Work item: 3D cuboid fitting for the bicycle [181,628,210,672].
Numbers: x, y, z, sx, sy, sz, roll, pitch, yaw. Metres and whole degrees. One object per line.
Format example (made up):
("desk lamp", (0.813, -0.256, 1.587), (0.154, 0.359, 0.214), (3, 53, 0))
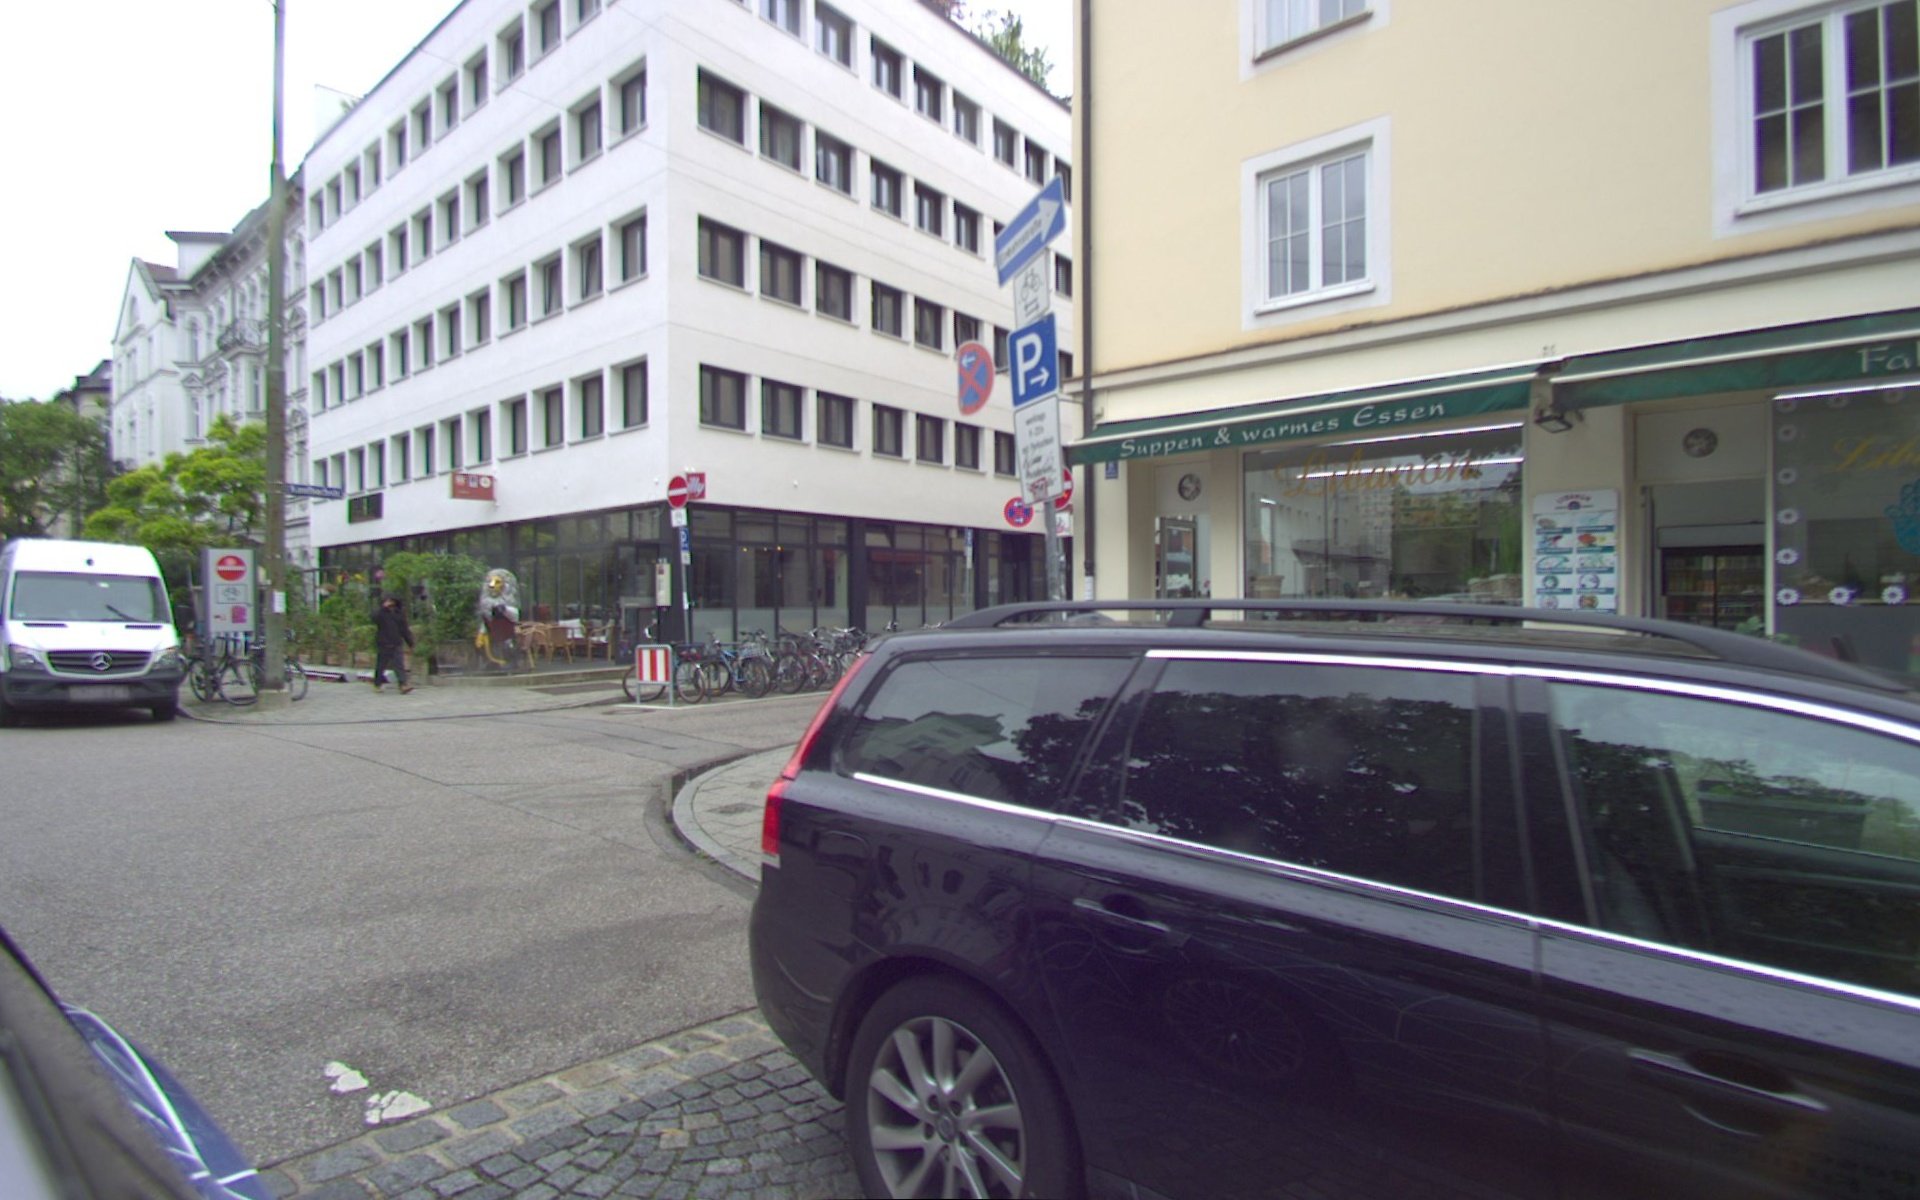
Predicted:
("bicycle", (-21.623, 1.401, 28.618), (1.911, 1.183, 0.356), (-1, -1, 44))

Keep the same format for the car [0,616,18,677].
("car", (-25.410, 1.168, 26.008), (1.673, 1.515, 3.779), (0, -1, -44))

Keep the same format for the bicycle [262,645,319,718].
("bicycle", (-10.935, 1.297, 16.512), (1.814, 1.099, 0.283), (-1, -1, 41))

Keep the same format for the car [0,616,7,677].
("car", (-29.356, 1.342, 29.676), (3.897, 1.736, 1.699), (-1, -2, 42))

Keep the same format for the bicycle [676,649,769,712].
("bicycle", (-4.044, 1.339, 17.154), (1.891, 0.976, 0.393), (-1, -1, 36))

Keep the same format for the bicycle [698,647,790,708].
("bicycle", (-3.754, 1.320, 17.525), (1.891, 0.976, 0.393), (-1, -1, 36))

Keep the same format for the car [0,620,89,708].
("car", (-17.776, 1.134, 18.914), (3.979, 1.494, 1.645), (-1, -1, 40))

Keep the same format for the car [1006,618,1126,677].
("car", (2.830, 1.183, 26.376), (1.487, 1.418, 3.646), (-1, -1, 37))

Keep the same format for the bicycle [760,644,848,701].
("bicycle", (-2.892, 1.313, 18.651), (1.891, 0.976, 0.393), (-1, -1, 36))

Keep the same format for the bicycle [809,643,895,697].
("bicycle", (-2.117, 1.338, 19.650), (1.891, 0.976, 0.393), (-1, -1, 36))

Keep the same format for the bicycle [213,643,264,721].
("bicycle", (-11.407, 1.270, 15.979), (1.806, 1.135, 0.252), (-1, -1, 41))

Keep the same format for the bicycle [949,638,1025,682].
("bicycle", (0.622, 1.392, 23.896), (1.891, 0.976, 0.393), (-1, -1, 36))

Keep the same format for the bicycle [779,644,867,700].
("bicycle", (-2.600, 1.328, 19.046), (1.891, 0.976, 0.393), (-1, -1, 36))

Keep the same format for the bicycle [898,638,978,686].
("bicycle", (-0.500, 1.335, 22.052), (1.891, 0.976, 0.393), (-1, -1, 36))

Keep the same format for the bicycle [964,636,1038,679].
("bicycle", (0.969, 1.383, 24.464), (1.891, 0.976, 0.393), (-1, -1, 36))

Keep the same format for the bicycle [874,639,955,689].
("bicycle", (-0.977, 1.330, 21.330), (1.891, 0.976, 0.393), (-1, -1, 36))

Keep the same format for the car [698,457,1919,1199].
("car", (1.713, 0.636, 1.799), (4.744, 1.598, 1.833), (-1, -1, 40))

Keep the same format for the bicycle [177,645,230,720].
("bicycle", (-11.871, 1.264, 15.863), (1.814, 1.099, 0.283), (-1, -1, 41))

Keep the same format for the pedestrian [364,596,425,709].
("pedestrian", (-9.548, 0.862, 17.095), (0.812, 1.854, 0.608), (-1, -1, 35))

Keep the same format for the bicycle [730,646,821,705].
("bicycle", (-3.315, 1.330, 18.075), (1.891, 0.976, 0.393), (-1, -1, 36))

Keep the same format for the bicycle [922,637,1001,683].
("bicycle", (0.021, 1.339, 22.773), (1.891, 0.976, 0.393), (-1, -1, 36))

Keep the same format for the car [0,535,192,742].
("car", (-13.463, 0.550, 15.331), (5.795, 2.594, 1.955), (-1, -3, 44))

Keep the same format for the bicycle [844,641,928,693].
("bicycle", (-1.511, 1.333, 20.525), (1.891, 0.976, 0.393), (-1, -1, 36))

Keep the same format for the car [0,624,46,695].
("car", (-21.709, 1.265, 22.423), (4.473, 1.476, 1.707), (-1, -4, 43))
